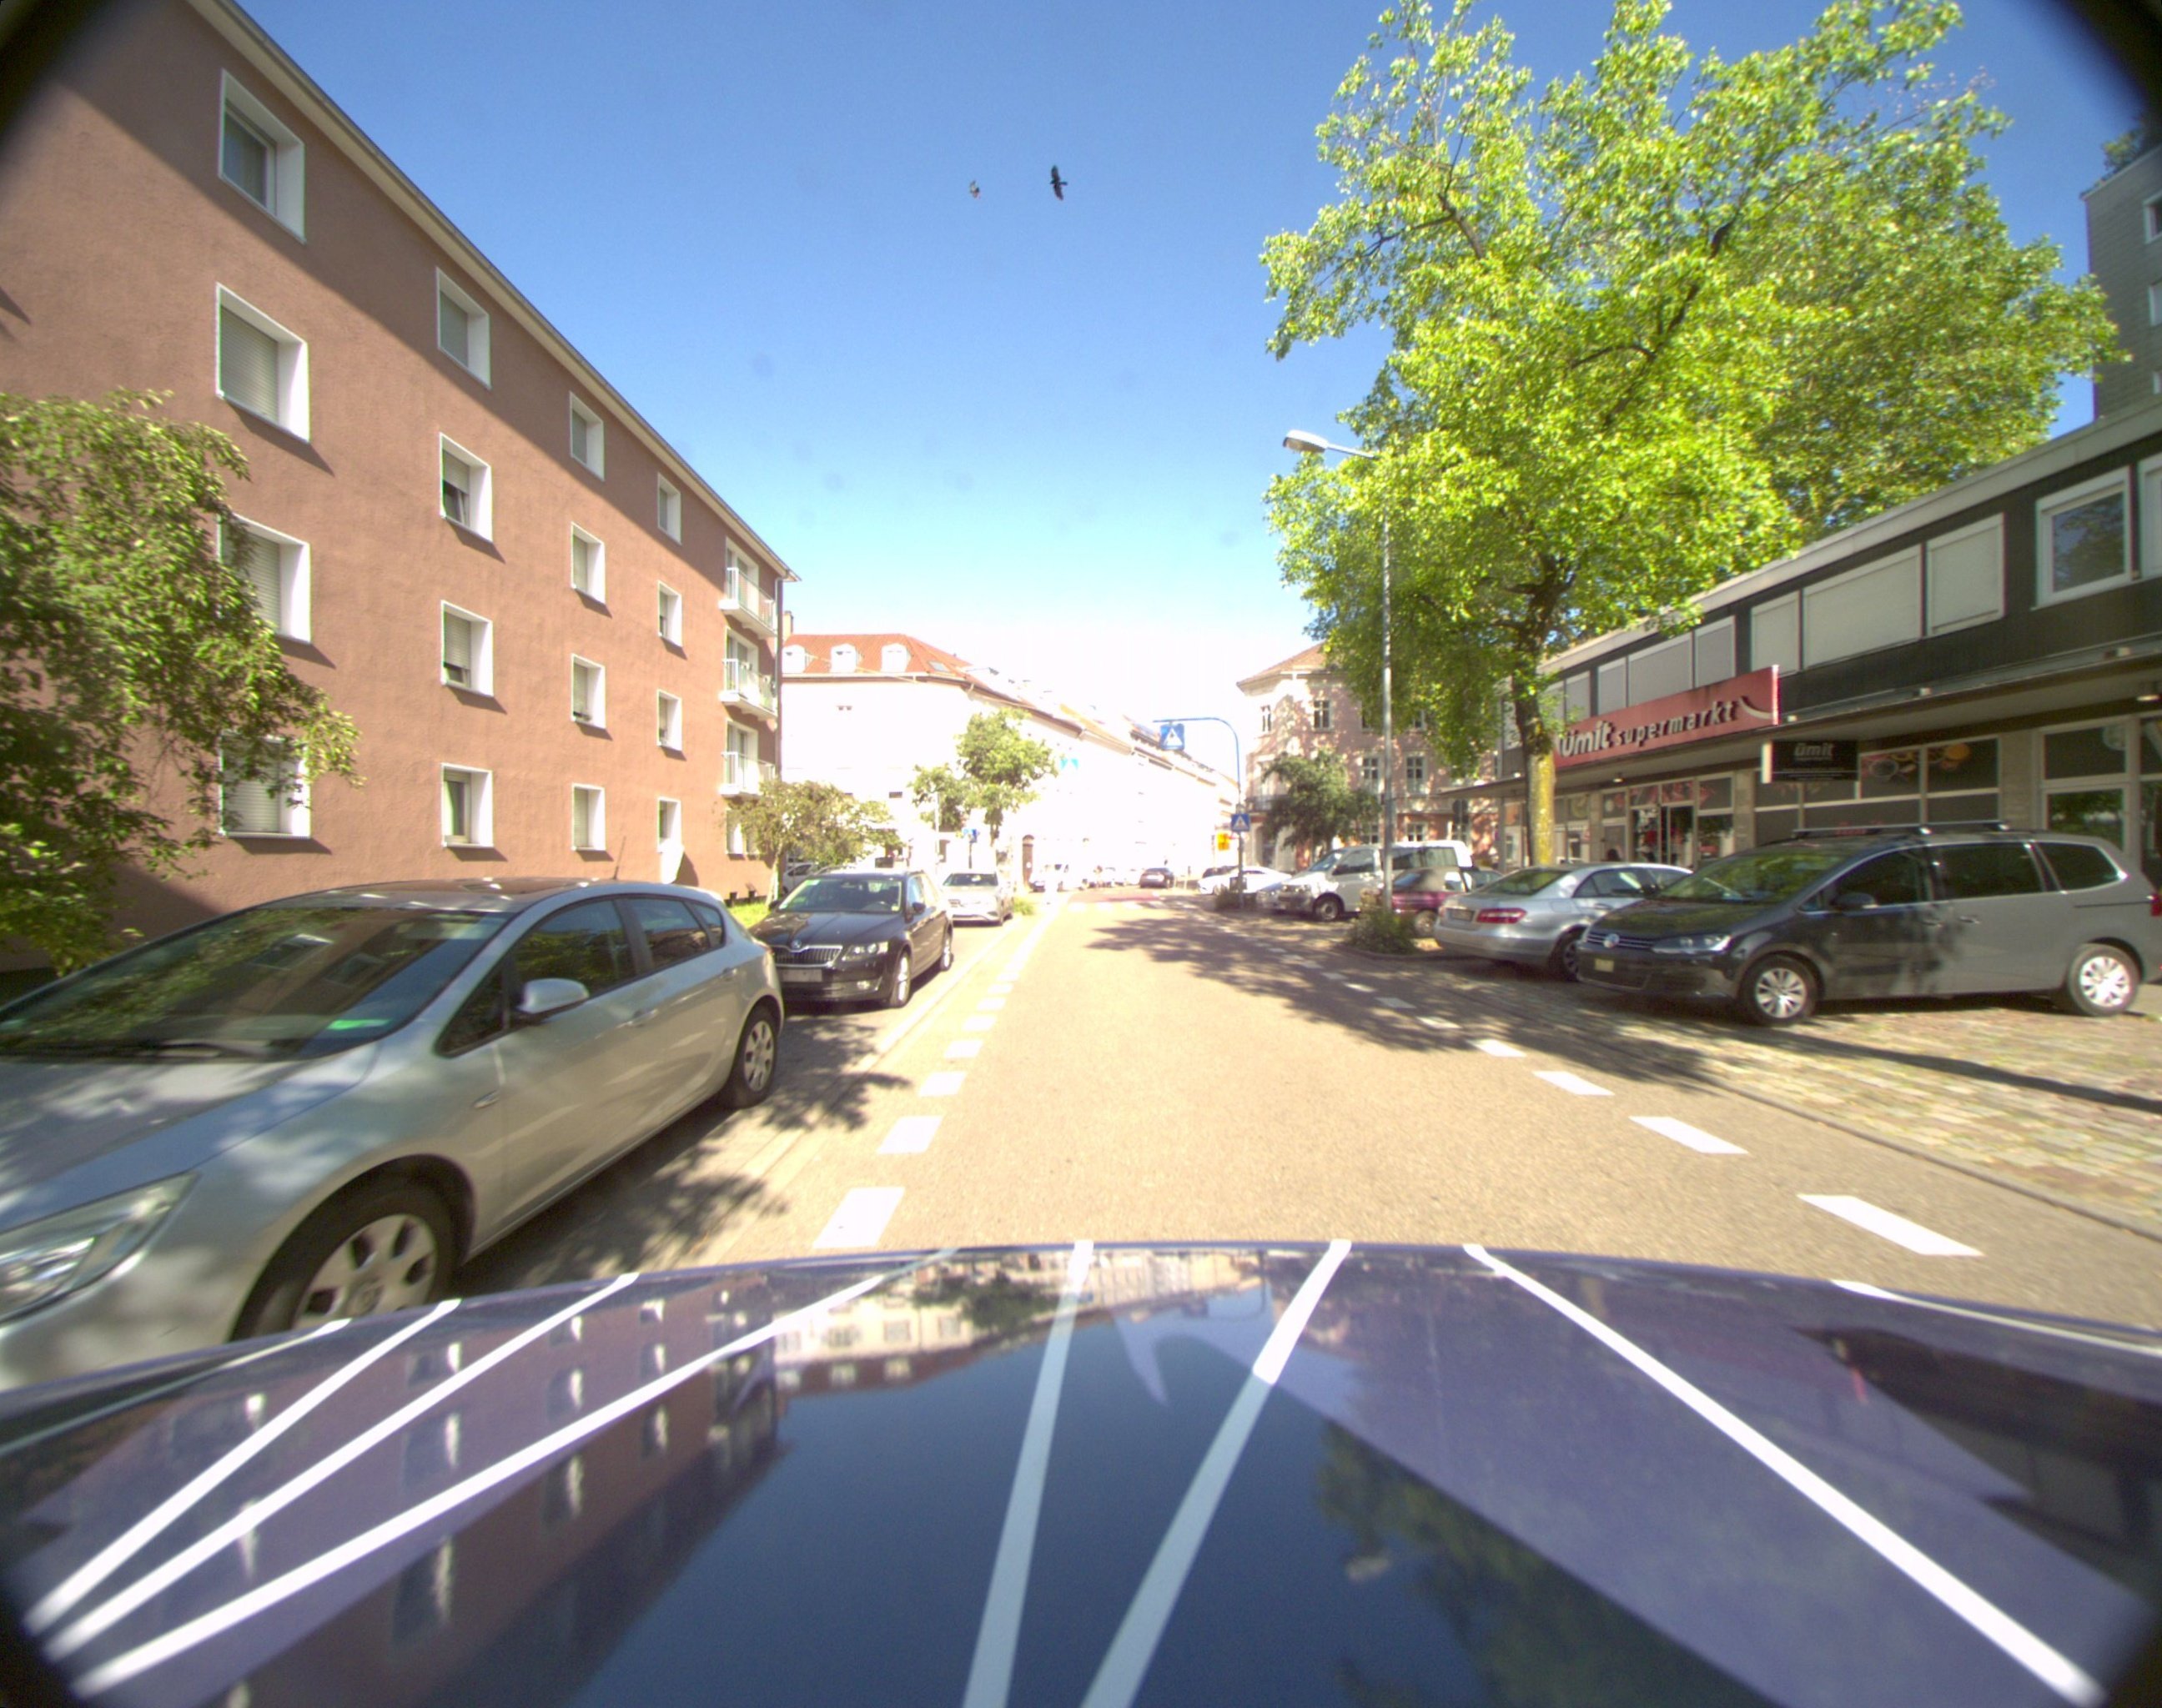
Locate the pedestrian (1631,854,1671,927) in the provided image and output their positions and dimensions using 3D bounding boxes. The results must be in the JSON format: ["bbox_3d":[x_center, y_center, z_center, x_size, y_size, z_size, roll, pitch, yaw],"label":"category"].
[{"bbox_3d":[12.460,0.787,16.625,0.474,1.546,0.499,-2,1,0],"label":"pedestrian"}]

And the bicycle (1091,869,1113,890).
[{"bbox_3d":[1.261,1.468,44.943,0.874,1.179,2.293,0,0,14],"label":"bicycle"}]

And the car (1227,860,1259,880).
[{"bbox_3d":[13.878,1.308,65.009,1.854,1.652,4.007,0,0,24],"label":"car"}]

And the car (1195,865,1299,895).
[{"bbox_3d":[8.246,1.266,38.090,4.801,1.417,2.000,-1,0,0],"label":"car"}]

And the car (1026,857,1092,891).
[{"bbox_3d":[-1.253,1.159,45.570,1.908,1.924,4.818,-1,0,26],"label":"car"}]

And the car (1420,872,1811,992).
[{"bbox_3d":[6.911,0.961,10.116,3.998,1.390,1.759,-1,0,-2],"label":"car"}]

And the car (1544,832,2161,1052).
[{"bbox_3d":[7.587,0.764,7.583,4.781,1.766,1.874,-2,0,-2],"label":"car"}]

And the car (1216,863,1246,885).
[{"bbox_3d":[12.037,1.558,60.931,1.505,1.652,4.007,0,0,24],"label":"car"}]

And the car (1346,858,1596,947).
[{"bbox_3d":[7.597,0.914,15.055,3.998,1.412,1.737,-4,0,-2],"label":"car"}]

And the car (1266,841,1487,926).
[{"bbox_3d":[7.609,0.741,19.888,4.996,1.958,1.909,-2,0,-2],"label":"car"}]

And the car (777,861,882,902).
[{"bbox_3d":[-12.841,1.382,39.104,4.756,2.002,1.999,0,0,-4],"label":"car"}]

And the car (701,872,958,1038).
[{"bbox_3d":[-2.703,0.996,9.269,1.662,1.473,4.312,-1,0,1],"label":"car"}]

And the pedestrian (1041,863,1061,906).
[{"bbox_3d":[-1.174,1.167,29.585,0.727,1.630,0.808,0,0,0],"label":"pedestrian"}]

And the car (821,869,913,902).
[{"bbox_3d":[-9.494,1.379,33.908,3.648,1.394,1.568,-1,0,0],"label":"car"}]

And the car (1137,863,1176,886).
[{"bbox_3d":[5.164,1.384,51.337,1.996,1.455,4.005,0,0,15],"label":"car"}]

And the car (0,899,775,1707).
[{"bbox_3d":[-2.916,1.029,3.060,1.720,1.445,4.000,0,0,1],"label":"car"}]

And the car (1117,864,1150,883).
[{"bbox_3d":[4.139,1.480,59.557,1.632,1.412,3.300,0,0,23],"label":"car"}]

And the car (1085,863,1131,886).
[{"bbox_3d":[1.953,1.428,53.653,2.130,1.487,3.951,-1,0,19],"label":"car"}]

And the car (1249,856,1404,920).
[{"bbox_3d":[7.197,0.984,22.531,3.997,1.781,1.757,-1,0,-1],"label":"car"}]

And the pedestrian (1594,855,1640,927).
[{"bbox_3d":[11.831,0.794,16.790,0.529,1.546,0.663,-2,1,0],"label":"pedestrian"}]

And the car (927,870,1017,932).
[{"bbox_3d":[-2.739,1.149,19.928,1.736,1.420,4.000,-1,0,1],"label":"car"}]

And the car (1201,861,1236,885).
[{"bbox_3d":[10.200,1.376,56.128,1.670,1.627,4.055,-1,0,24],"label":"car"}]

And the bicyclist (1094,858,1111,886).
[{"bbox_3d":[1.262,1.060,45.006,0.846,1.663,0.820,0,0,14],"label":"bicyclist"}]
